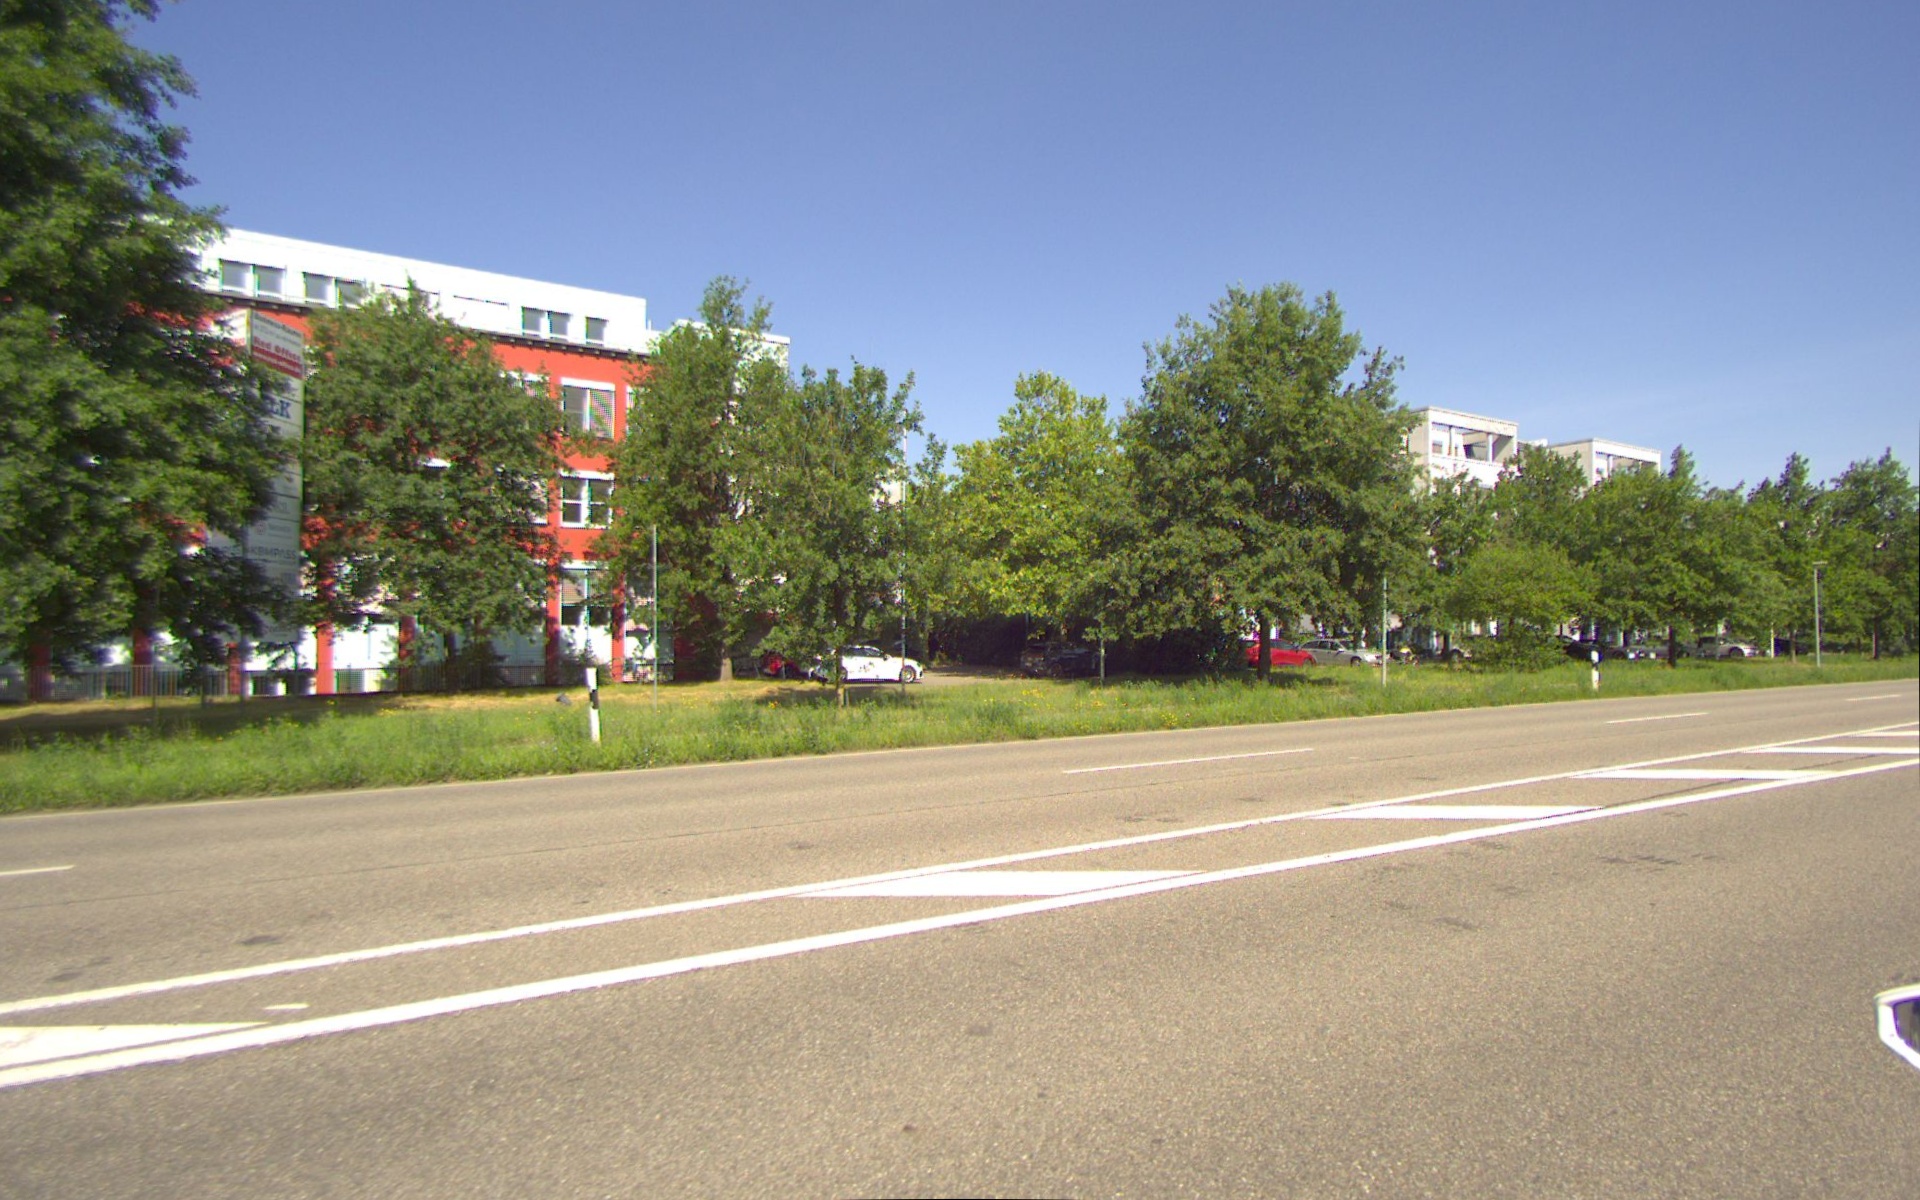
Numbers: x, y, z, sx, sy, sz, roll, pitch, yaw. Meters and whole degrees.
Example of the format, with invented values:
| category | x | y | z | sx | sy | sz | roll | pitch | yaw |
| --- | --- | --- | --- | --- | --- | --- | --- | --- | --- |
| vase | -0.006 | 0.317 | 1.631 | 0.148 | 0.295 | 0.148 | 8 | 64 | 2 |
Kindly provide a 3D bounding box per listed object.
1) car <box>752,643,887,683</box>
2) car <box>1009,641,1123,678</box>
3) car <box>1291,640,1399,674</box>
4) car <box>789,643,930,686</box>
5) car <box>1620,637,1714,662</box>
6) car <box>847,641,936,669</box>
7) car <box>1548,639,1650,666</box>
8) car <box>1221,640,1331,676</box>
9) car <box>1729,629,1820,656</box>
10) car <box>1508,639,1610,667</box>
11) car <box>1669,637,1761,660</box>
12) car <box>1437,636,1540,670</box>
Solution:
| category | x | y | z | sx | sy | sz | roll | pitch | yaw |
| --- | --- | --- | --- | --- | --- | --- | --- | --- | --- |
| car | -5.517 | 2.441 | 39.583 | 4.893 | 1.456 | 1.985 | 1 | -2 | -29 |
| car | 4.546 | 2.523 | 42.943 | 4.556 | 1.456 | 1.984 | 1 | -2 | -30 |
| car | 18.061 | 2.644 | 47.379 | 1.976 | 1.456 | 4.574 | 1 | -2 | -30 |
| car | -3.753 | 2.371 | 37.613 | 4.893 | 1.456 | 1.985 | 1 | -2 | -29 |
| car | 45.359 | 3.143 | 64.533 | 1.976 | 1.456 | 4.574 | 1 | -2 | -30 |
| car | -3.776 | 2.996 | 55.731 | 4.556 | 1.456 | 1.984 | 1 | -2 | -30 |
| car | 36.886 | 3.012 | 58.105 | 1.976 | 1.456 | 4.574 | 1 | -2 | -30 |
| car | 13.682 | 2.466 | 43.462 | 4.552 | 1.456 | 1.986 | 1 | -2 | -28 |
| car | 56.961 | 2.981 | 70.309 | 1.974 | 1.781 | 4.518 | 1 | -2 | -26 |
| car | 33.645 | 2.938 | 56.514 | 1.976 | 1.456 | 4.574 | 1 | -2 | -30 |
| car | 50.861 | 3.259 | 67.729 | 1.976 | 1.456 | 4.574 | 1 | -2 | -30 |
| car | 28.146 | 2.779 | 53.635 | 1.976 | 1.672 | 4.574 | 1 | -2 | -30 |
